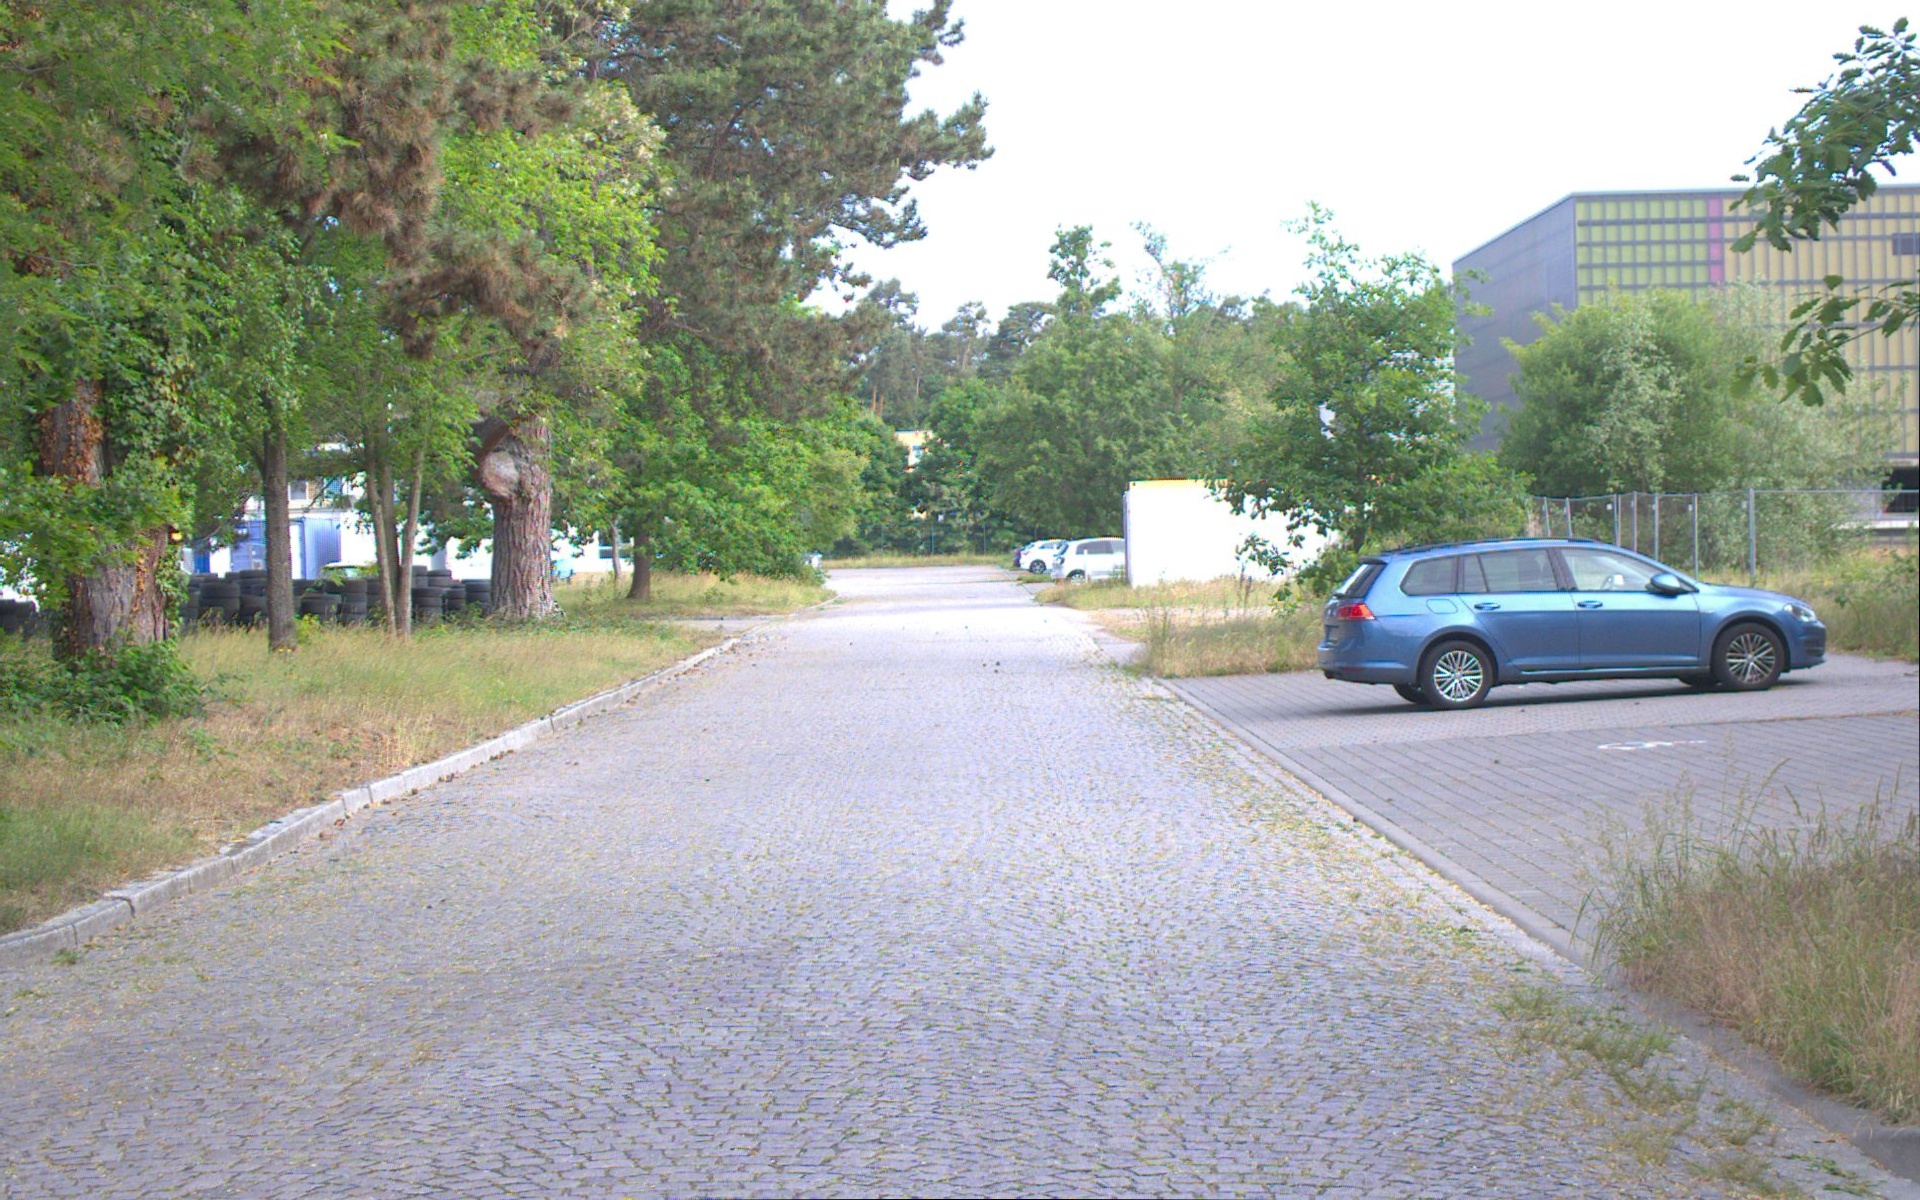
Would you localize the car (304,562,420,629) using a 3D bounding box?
[{"bbox_3d":[-13.906,-0.126,80.063,1.767,1.448,3.488,-1,1,5],"label":"car"}]

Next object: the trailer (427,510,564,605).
[{"bbox_3d":[-15.796,-1.472,117.507,3.159,3.057,8.784,-1,1,2],"label":"trailer"}]

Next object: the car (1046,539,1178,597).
[{"bbox_3d":[4.627,-0.980,104.785,3.849,1.649,1.686,-2,1,-3],"label":"car"}]

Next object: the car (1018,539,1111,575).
[{"bbox_3d":[4.589,-1.893,150.932,4.025,1.496,1.548,-2,1,1],"label":"car"}]

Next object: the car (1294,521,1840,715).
[{"bbox_3d":[5.459,0.140,31.260,4.521,1.438,1.824,-3,1,-3],"label":"car"}]
